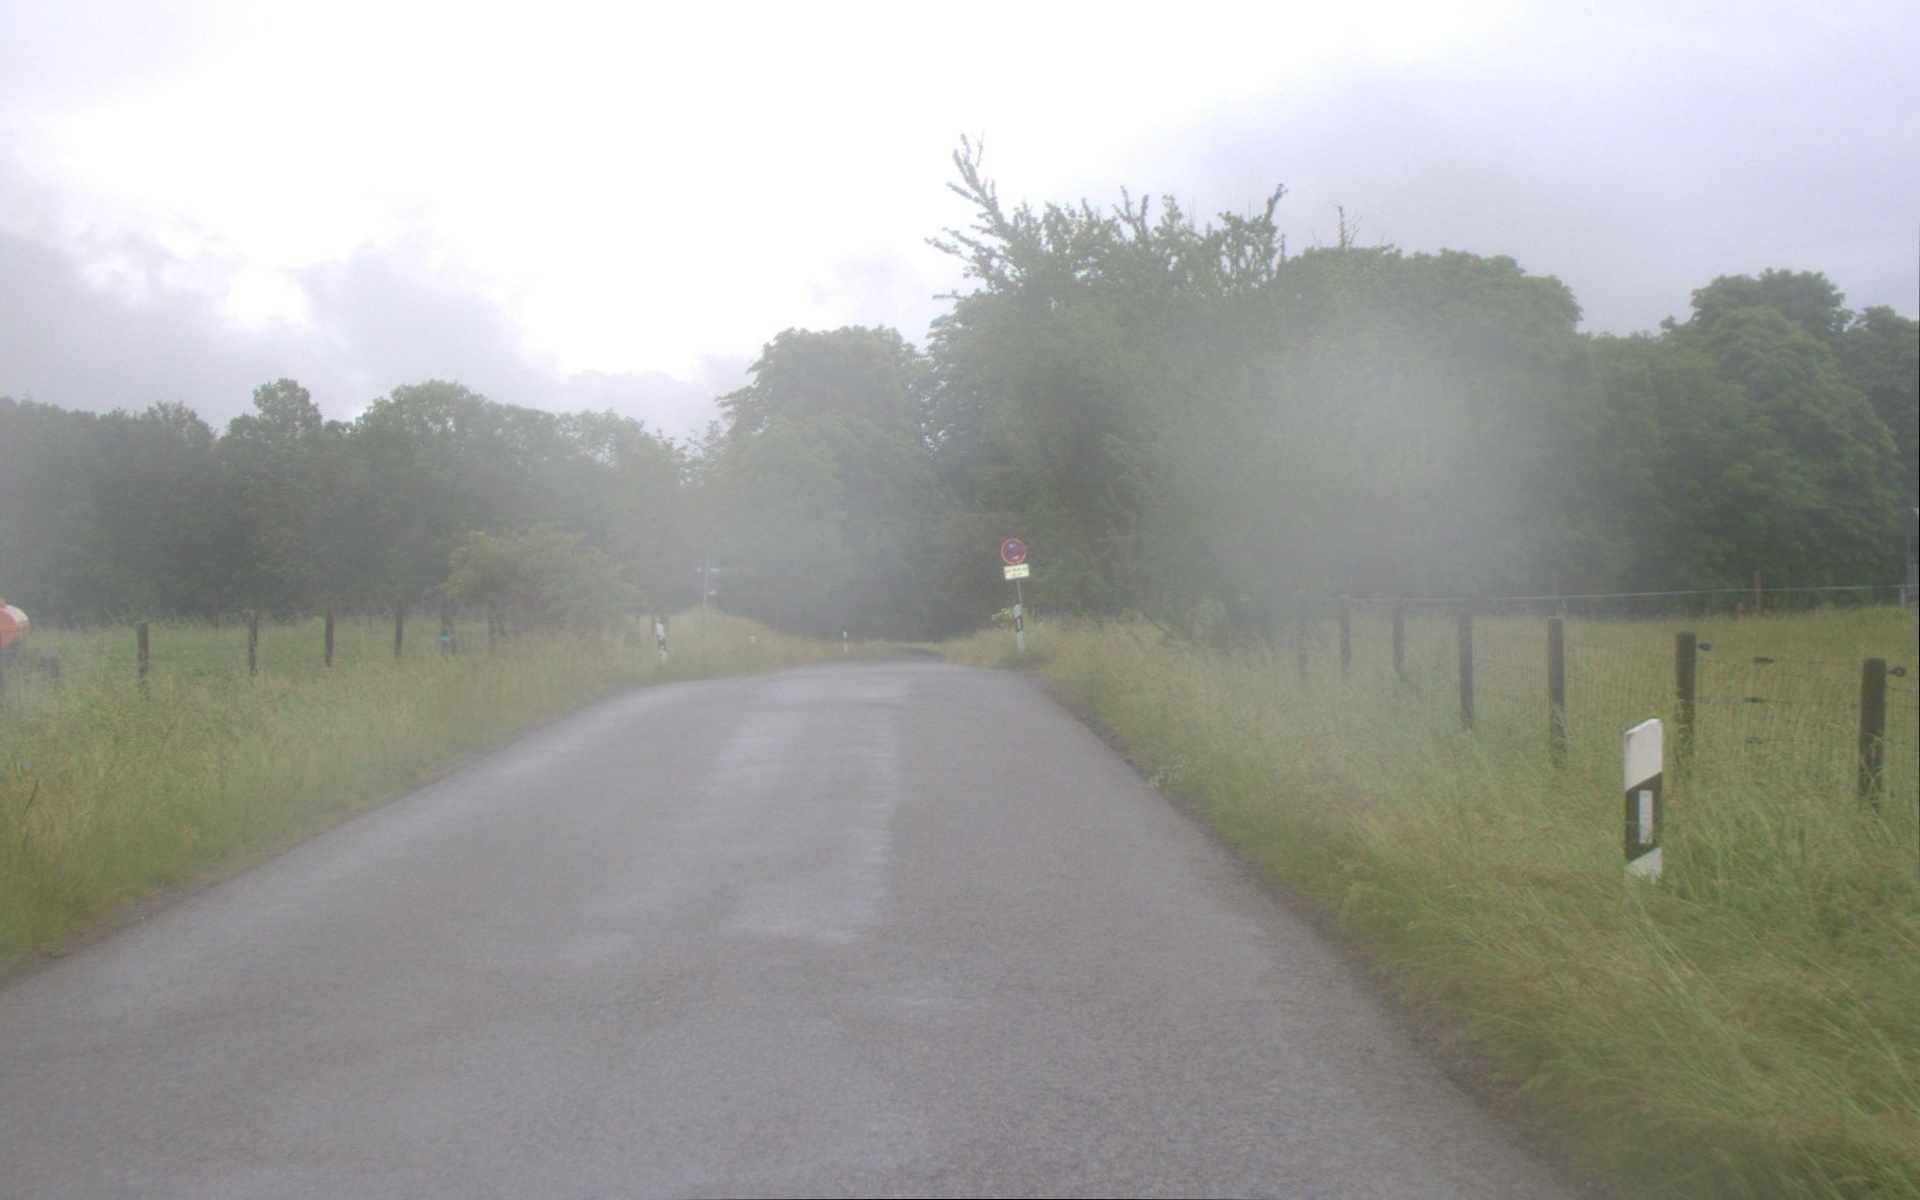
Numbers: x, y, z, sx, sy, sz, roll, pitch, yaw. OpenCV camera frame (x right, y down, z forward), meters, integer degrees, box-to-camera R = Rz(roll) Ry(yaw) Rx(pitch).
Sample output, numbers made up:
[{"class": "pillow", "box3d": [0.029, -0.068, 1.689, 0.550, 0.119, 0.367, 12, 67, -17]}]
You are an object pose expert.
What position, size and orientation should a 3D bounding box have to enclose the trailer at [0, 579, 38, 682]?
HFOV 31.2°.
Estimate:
[{"class": "trailer", "box3d": [-14.789, 0.451, 51.301, 1.751, 1.499, 3.091, -1, 1, -11]}]
